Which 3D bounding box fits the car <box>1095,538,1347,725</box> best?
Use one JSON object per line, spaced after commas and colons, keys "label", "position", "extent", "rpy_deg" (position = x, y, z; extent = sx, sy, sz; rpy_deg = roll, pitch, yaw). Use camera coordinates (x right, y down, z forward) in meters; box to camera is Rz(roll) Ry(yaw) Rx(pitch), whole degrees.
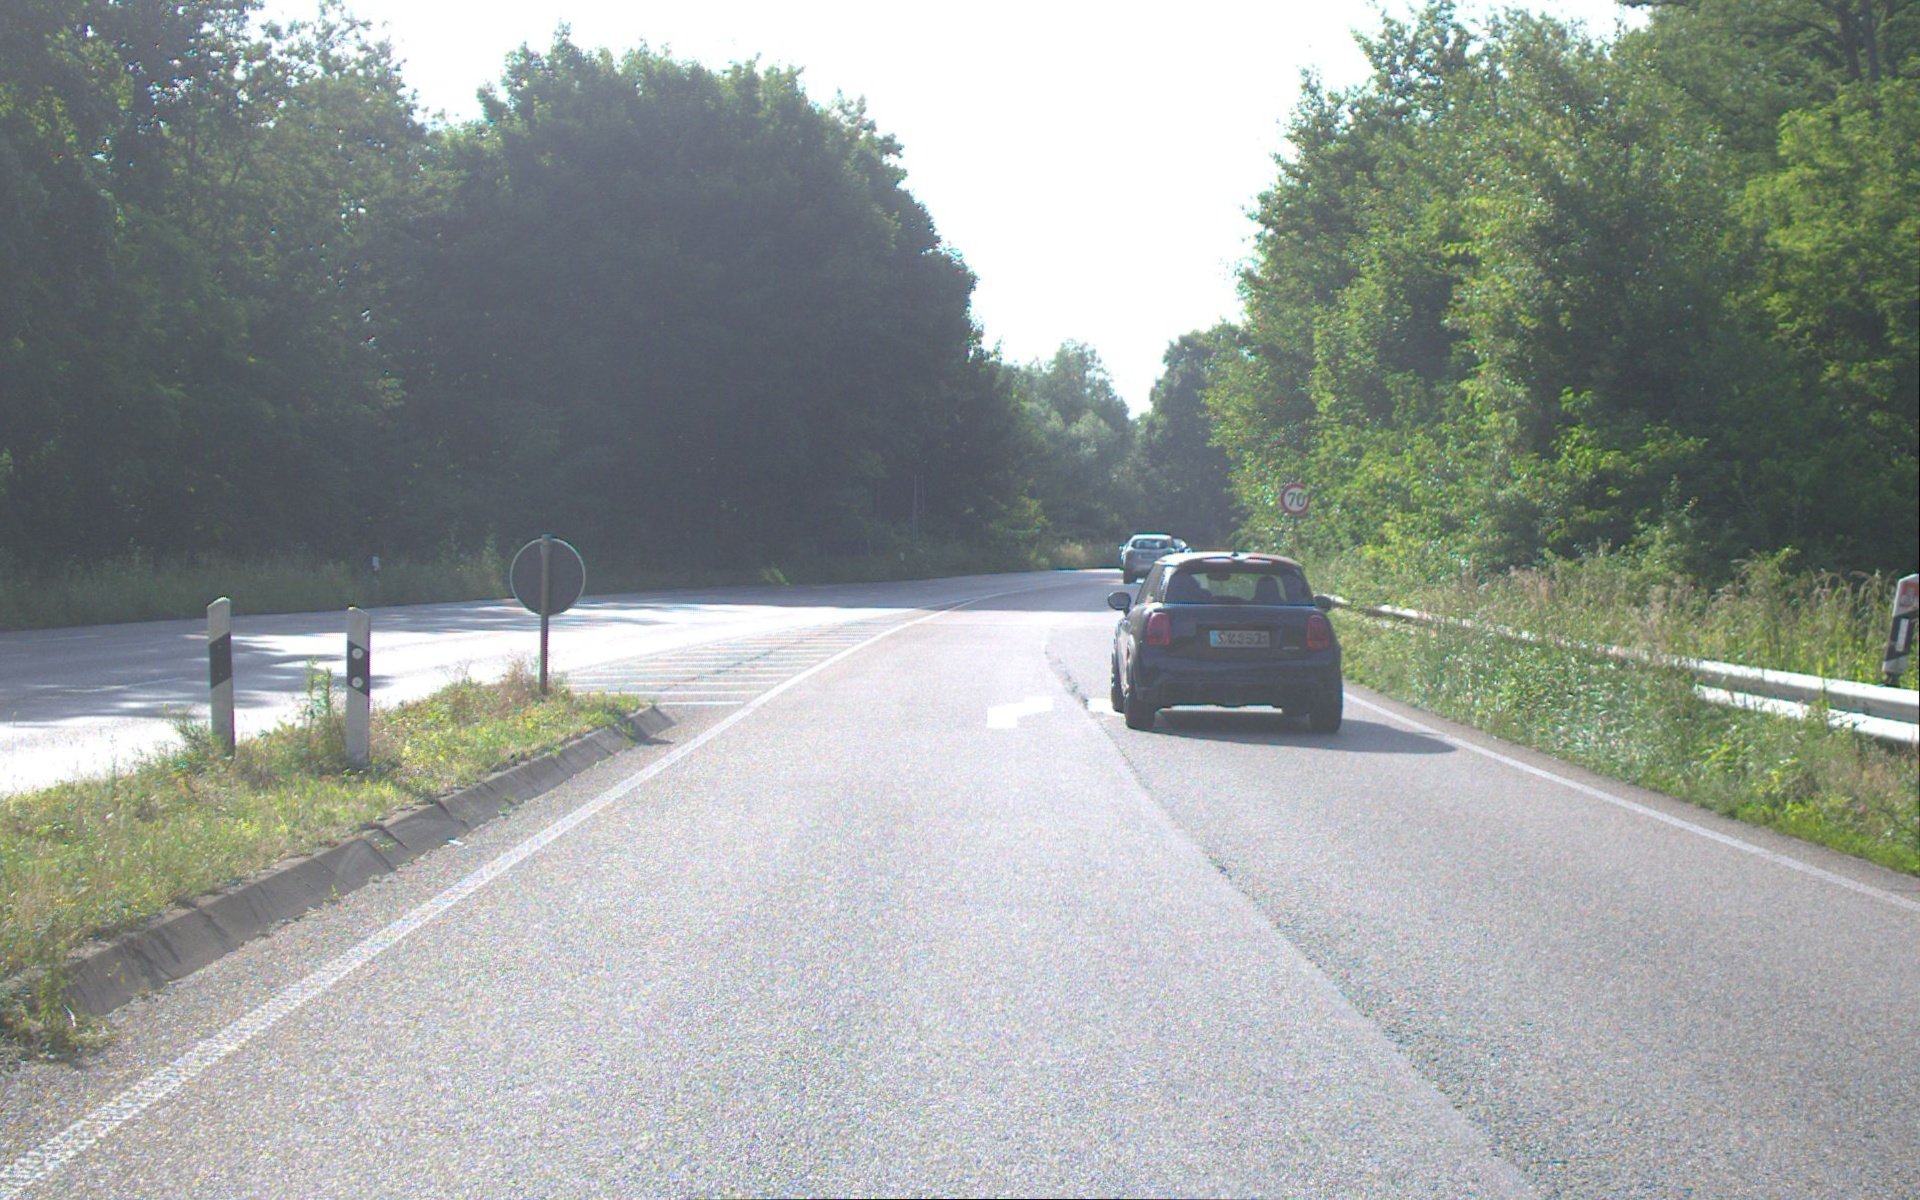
{"label": "car", "position": [2.142, 0.244, 29.154], "extent": [1.819, 1.463, 3.873], "rpy_deg": [1, 0, 0]}

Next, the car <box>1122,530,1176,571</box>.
{"label": "car", "position": [6.477, -1.692, 118.090], "extent": [1.761, 1.375, 3.971], "rpy_deg": [0, 0, 2]}

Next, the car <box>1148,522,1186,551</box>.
{"label": "car", "position": [10.329, -3.157, 171.886], "extent": [1.761, 1.375, 3.971], "rpy_deg": [0, 0, 2]}
